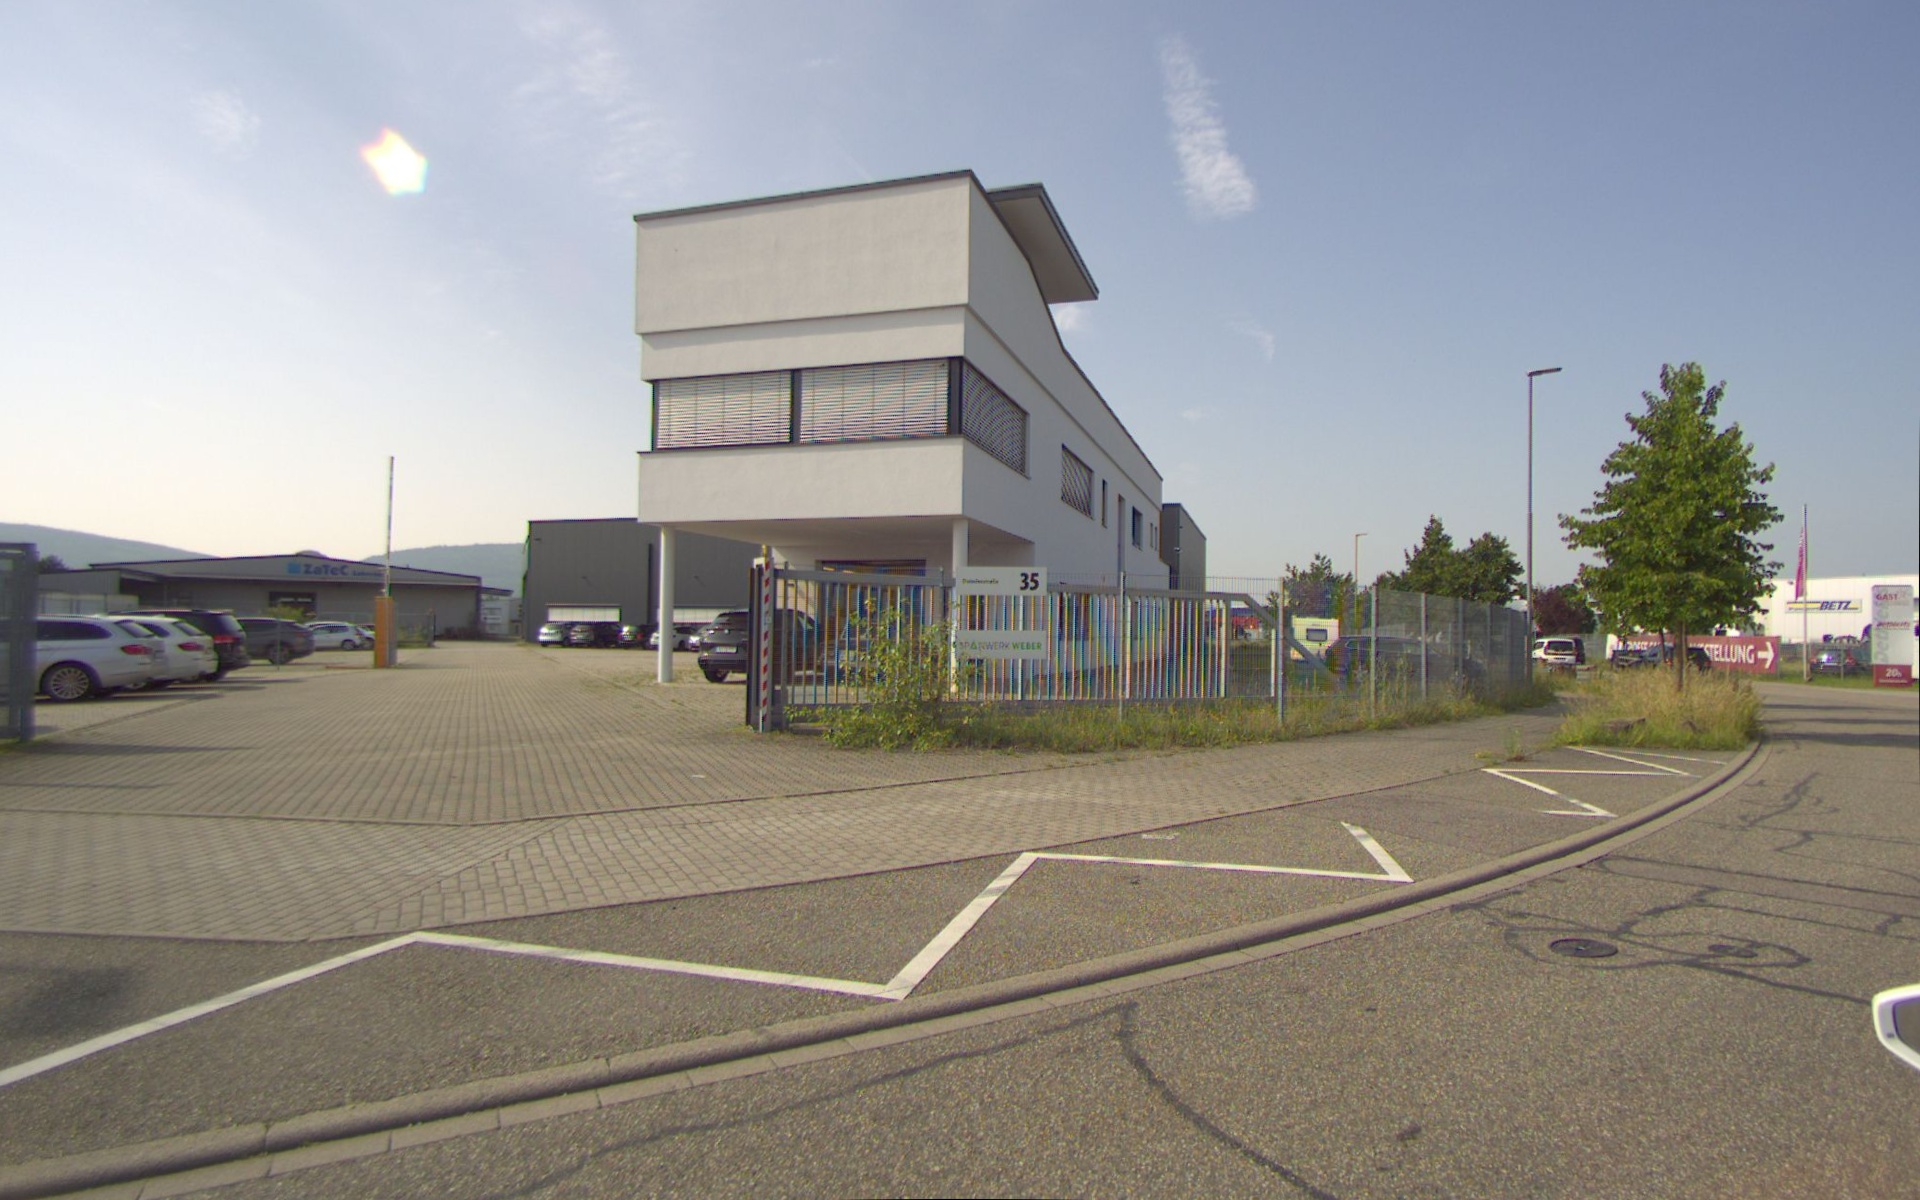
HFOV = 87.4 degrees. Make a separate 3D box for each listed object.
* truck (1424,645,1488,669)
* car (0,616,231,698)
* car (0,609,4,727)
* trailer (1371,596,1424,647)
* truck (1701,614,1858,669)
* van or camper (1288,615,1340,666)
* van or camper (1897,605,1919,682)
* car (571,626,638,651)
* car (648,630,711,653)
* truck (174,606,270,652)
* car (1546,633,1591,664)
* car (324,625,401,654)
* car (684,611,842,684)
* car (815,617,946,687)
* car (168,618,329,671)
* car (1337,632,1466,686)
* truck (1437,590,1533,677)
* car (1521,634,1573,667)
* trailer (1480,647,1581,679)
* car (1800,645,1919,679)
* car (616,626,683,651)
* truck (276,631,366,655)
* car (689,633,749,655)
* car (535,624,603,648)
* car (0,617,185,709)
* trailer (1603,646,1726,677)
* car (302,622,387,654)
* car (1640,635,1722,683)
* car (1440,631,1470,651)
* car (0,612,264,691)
[{"bbox_3d":[29.867,3.393,60.652,2.482,1.282,6.529,0,-2,17],"label":"truck"},{"bbox_3d":[-17.235,1.077,19.747,4.421,1.514,1.928,1,-1,-28],"label":"car"},{"bbox_3d":[-13.965,0.858,11.360,4.256,1.545,1.761,0,-1,-32],"label":"car"},{"bbox_3d":[40.753,2.089,94.031,3.347,4.397,13.924,0,-2,18],"label":"trailer"},{"bbox_3d":[63.362,3.130,77.969,2.428,4.025,9.246,1,-1,-28],"label":"truck"},{"bbox_3d":[18.955,2.179,54.026,2.266,2.594,4.957,0,-2,15],"label":"van or camper"},{"bbox_3d":[37.709,1.663,37.296,2.294,2.982,6.965,0,-2,26],"label":"van or camper"},{"bbox_3d":[-22.200,2.391,62.823,1.635,1.461,3.948,0,-2,26],"label":"car"},{"bbox_3d":[-16.916,2.499,60.693,1.634,1.331,3.818,0,-2,23],"label":"car"},{"bbox_3d":[-41.665,1.650,56.813,3.941,2.547,1.990,1,-2,-22],"label":"truck"},{"bbox_3d":[42.309,3.327,69.959,1.789,2.004,4.000,-3,-2,20],"label":"car"},{"bbox_3d":[-38.223,2.538,64.398,3.943,1.792,1.862,1,-2,-23],"label":"car"},{"bbox_3d":[-4.441,1.064,23.254,1.832,1.507,4.001,0,-2,19],"label":"car"},{"bbox_3d":[-1.702,1.135,22.763,1.532,1.434,3.922,0,-2,19],"label":"car"},{"bbox_3d":[-24.893,1.556,35.382,4.403,1.750,1.974,2,-2,-31],"label":"car"},{"bbox_3d":[13.556,1.793,31.052,3.433,1.473,1.598,1,-1,16],"label":"car"},{"bbox_3d":[27.284,1.781,52.787,2.582,3.980,12.921,1,-2,19],"label":"truck"},{"bbox_3d":[35.891,3.055,61.519,1.961,1.924,4.467,0,-2,20],"label":"car"},{"bbox_3d":[23.174,2.528,41.071,2.531,1.114,5.203,0,-2,17],"label":"trailer"},{"bbox_3d":[41.470,2.864,46.339,3.929,1.496,2.168,1,-2,-11],"label":"car"},{"bbox_3d":[-19.156,2.375,62.106,1.635,1.461,3.948,0,-2,26],"label":"car"},{"bbox_3d":[-35.610,2.397,56.085,3.943,1.327,1.862,1,-2,-23],"label":"truck"},{"bbox_3d":[-14.126,2.570,59.138,1.633,1.237,3.820,0,-2,19],"label":"car"},{"bbox_3d":[-24.866,2.312,63.971,1.635,1.461,3.948,0,-2,26],"label":"car"},{"bbox_3d":[-16.304,1.051,17.284,4.421,1.514,1.826,1,-1,-28],"label":"car"},{"bbox_3d":[36.991,3.191,53.137,2.579,1.406,9.458,-2,-3,18],"label":"trailer"},{"bbox_3d":[-36.042,2.219,58.898,3.943,1.792,1.862,1,-2,-23],"label":"car"},{"bbox_3d":[29.970,2.421,41.876,1.962,1.828,3.998,1,-2,24],"label":"car"},{"bbox_3d":[47.253,3.889,96.002,1.960,1.795,4.002,0,-2,18],"label":"car"},{"bbox_3d":[-18.296,1.087,22.317,4.421,1.625,1.928,0,-1,-28],"label":"car"}]
